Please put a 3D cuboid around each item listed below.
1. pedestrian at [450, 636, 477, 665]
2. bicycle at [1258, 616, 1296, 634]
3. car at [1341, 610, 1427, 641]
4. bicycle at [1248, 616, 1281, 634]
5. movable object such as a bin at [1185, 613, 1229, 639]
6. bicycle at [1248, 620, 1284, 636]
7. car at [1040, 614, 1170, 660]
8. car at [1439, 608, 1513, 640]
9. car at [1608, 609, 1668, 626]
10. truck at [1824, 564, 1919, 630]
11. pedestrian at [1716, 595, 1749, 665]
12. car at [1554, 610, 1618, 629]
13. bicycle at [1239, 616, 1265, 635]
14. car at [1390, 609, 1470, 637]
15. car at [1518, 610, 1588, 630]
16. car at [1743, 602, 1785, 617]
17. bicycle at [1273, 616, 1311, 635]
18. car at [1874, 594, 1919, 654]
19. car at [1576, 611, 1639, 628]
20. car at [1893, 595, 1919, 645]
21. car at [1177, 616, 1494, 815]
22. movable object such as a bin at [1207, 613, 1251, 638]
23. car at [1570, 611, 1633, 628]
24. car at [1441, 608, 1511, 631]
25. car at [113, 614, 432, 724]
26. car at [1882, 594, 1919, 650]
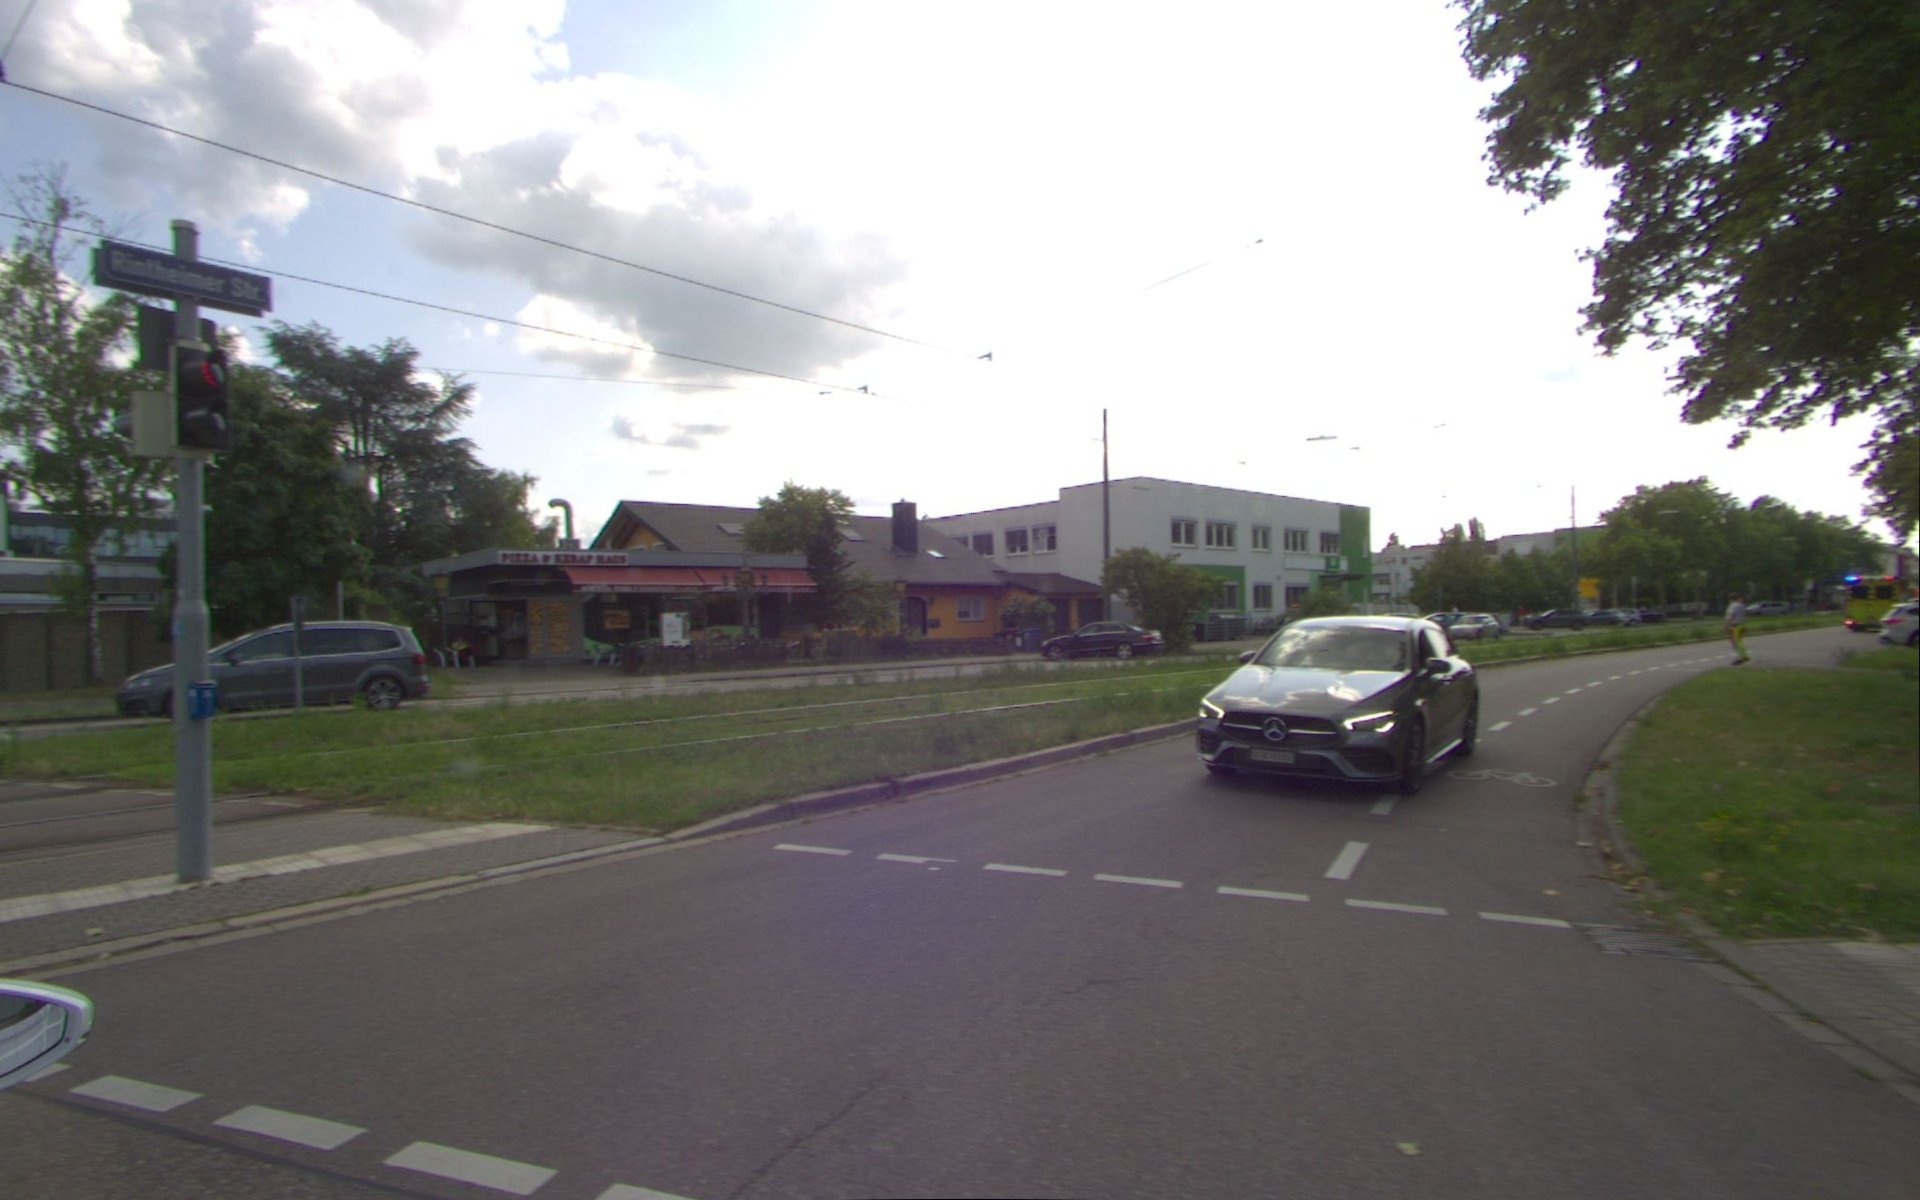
[{"bbox_3d":[-17.045,1.720,34.389,0.718,0.941,0.771,0,1,-37],"label":"pedestrian"},{"bbox_3d":[20.374,1.619,64.434,0.751,1.181,2.336,-1,-1,-36],"label":"bicycle"},{"bbox_3d":[23.957,1.456,56.749,4.236,1.650,1.900,-1,-1,15],"label":"car"},{"bbox_3d":[18.637,1.526,61.288,0.729,1.096,1.780,-1,-1,-44],"label":"bicycle"},{"bbox_3d":[13.551,1.419,54.995,2.092,1.344,1.366,-1,-1,-38],"label":"movable object such as a bin"},{"bbox_3d":[19.559,1.809,64.000,0.722,0.983,2.143,-1,-1,-37],"label":"bicycle"},{"bbox_3d":[5.560,1.436,38.467,4.511,1.600,1.992,-3,-1,28],"label":"car"},{"bbox_3d":[27.939,1.266,54.202,4.262,1.650,1.888,0,-1,-36],"label":"car"},{"bbox_3d":[61.583,1.590,91.012,4.247,1.381,1.895,-2,-1,26],"label":"car"},{"bbox_3d":[50.312,-0.139,55.120,7.442,3.360,3.166,0,-1,-41],"label":"truck"},{"bbox_3d":[19.091,0.730,24.743,0.489,1.706,0.582,0,0,-43],"label":"pedestrian"},{"bbox_3d":[50.893,1.591,81.512,4.247,1.381,1.895,-2,-1,26],"label":"car"},{"bbox_3d":[18.388,1.623,63.029,0.695,1.181,1.615,-1,-1,-25],"label":"bicycle"},{"bbox_3d":[28.432,1.419,60.756,4.240,1.650,1.898,-1,-1,20],"label":"car"},{"bbox_3d":[43.822,1.483,74.142,4.245,1.381,1.896,-2,-1,25],"label":"car"},{"bbox_3d":[107.739,1.248,134.185,3.927,1.862,1.819,1,0,17],"label":"car"},{"bbox_3d":[21.495,1.639,64.869,0.739,1.181,2.403,-1,-1,-34],"label":"bicycle"},{"bbox_3d":[28.275,0.663,27.539,1.981,1.665,4.500,1,-2,-44],"label":"car"},{"bbox_3d":[55.213,1.650,85.455,4.247,1.381,1.895,-2,-1,26],"label":"car"},{"bbox_3d":[33.797,0.658,32.894,1.981,1.665,4.500,1,-2,-44],"label":"car"},{"bbox_3d":[3.900,0.899,9.847,1.816,1.412,4.577,1,0,35],"label":"car"},{"bbox_3d":[15.164,1.444,56.445,2.106,1.344,1.366,-1,-1,-38],"label":"movable object such as a bin"},{"bbox_3d":[53.471,1.624,83.557,4.247,1.381,1.895,-2,-1,26],"label":"car"},{"bbox_3d":[34.666,1.334,67.415,4.104,1.523,1.854,-1,-1,26],"label":"car"},{"bbox_3d":[-12.672,1.179,18.642,4.689,1.744,1.983,0,-1,-42],"label":"car"},{"bbox_3d":[30.123,0.625,29.309,1.981,1.665,4.500,1,-2,-44],"label":"car"}]
